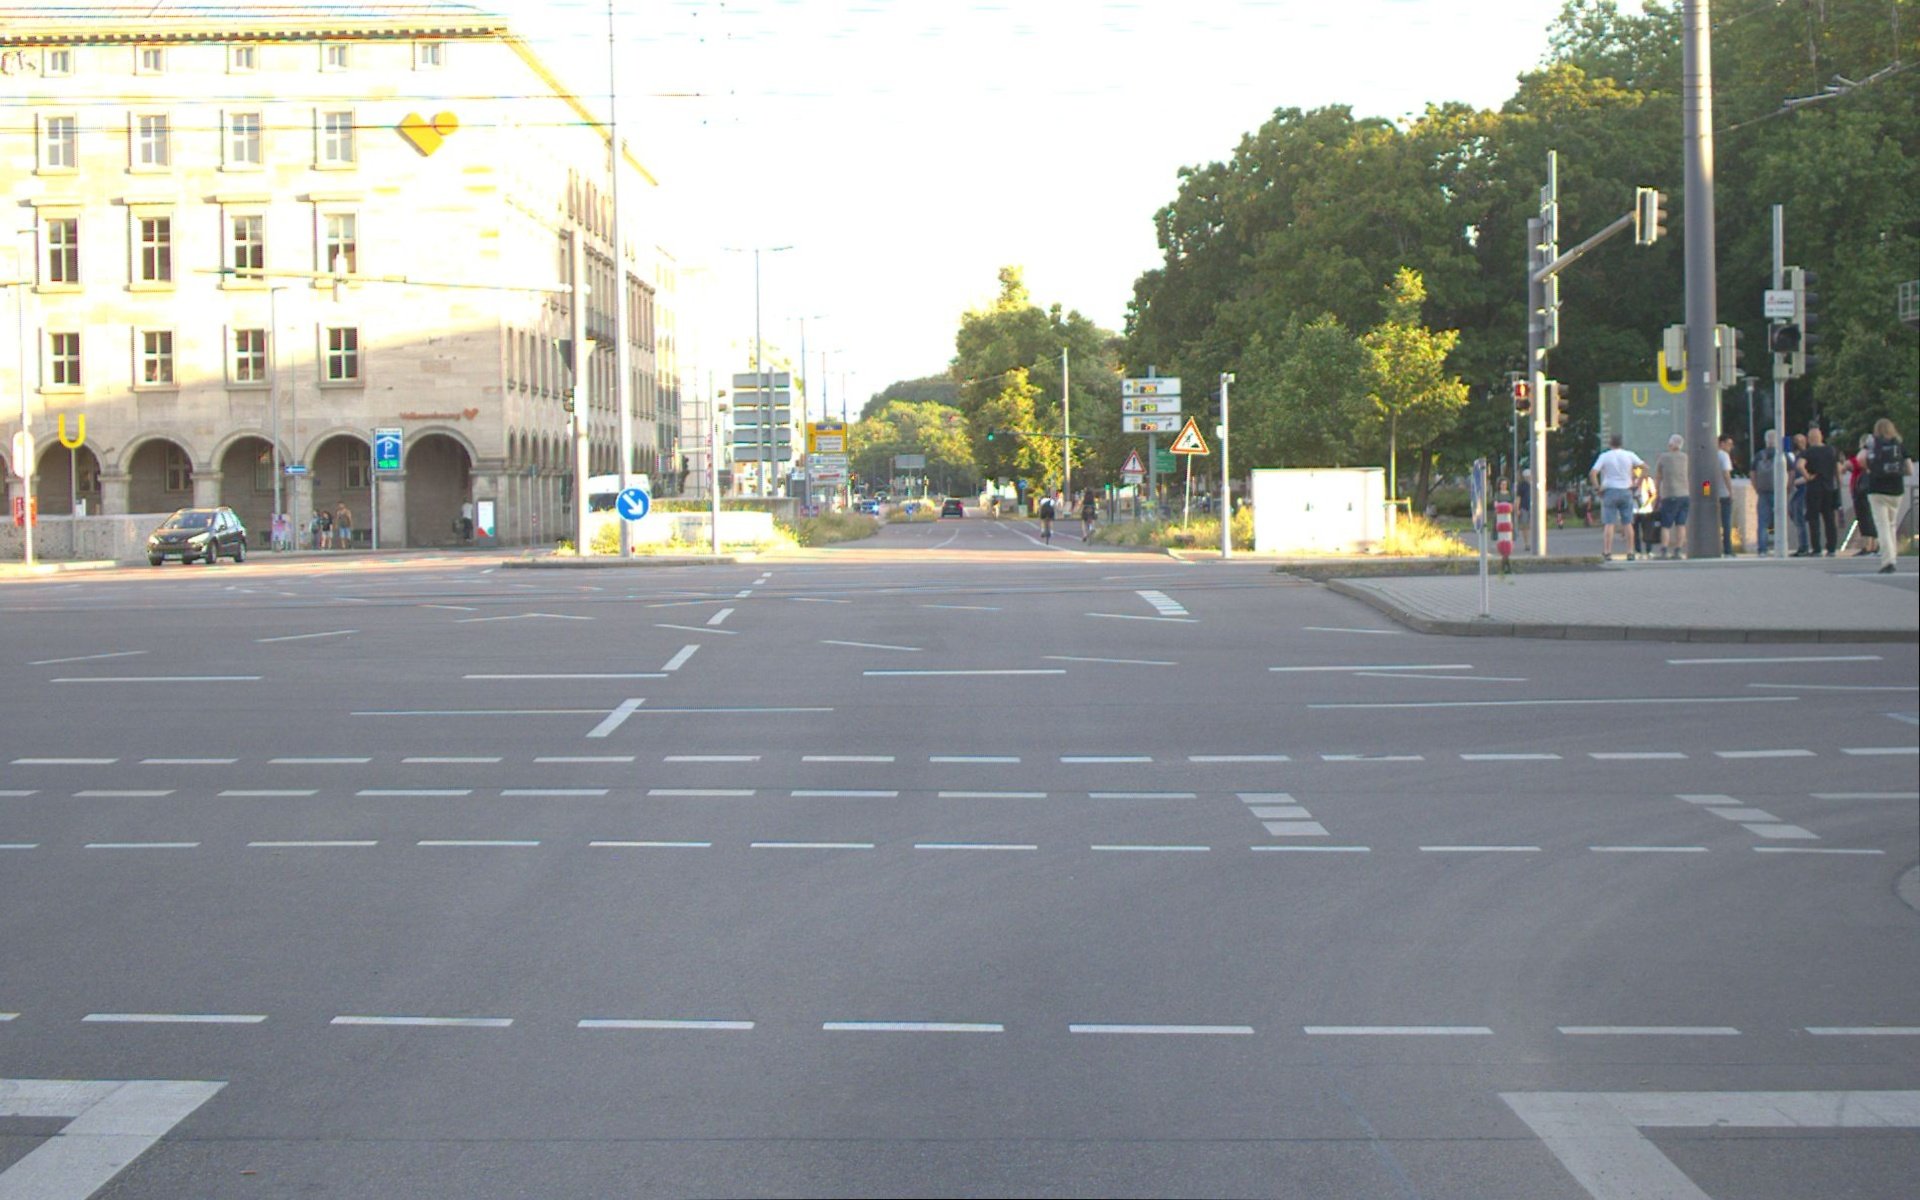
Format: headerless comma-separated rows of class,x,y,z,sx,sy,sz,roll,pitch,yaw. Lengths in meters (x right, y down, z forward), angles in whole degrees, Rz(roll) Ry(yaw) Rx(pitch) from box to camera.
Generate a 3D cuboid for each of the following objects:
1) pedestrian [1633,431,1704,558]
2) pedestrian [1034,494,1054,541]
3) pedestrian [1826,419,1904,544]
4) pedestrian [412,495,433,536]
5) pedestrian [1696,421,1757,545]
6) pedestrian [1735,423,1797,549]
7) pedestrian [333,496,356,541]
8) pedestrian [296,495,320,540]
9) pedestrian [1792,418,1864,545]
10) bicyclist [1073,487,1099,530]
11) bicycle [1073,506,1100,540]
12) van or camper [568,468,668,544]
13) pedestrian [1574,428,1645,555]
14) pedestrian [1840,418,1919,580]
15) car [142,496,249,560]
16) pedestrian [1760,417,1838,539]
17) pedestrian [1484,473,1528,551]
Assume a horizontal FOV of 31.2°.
pedestrian,9.771,-1.456,47.460,0.808,1.724,0.688,-1,2,-2
pedestrian,2.484,-2.452,101.693,0.522,1.369,0.688,-1,2,-4
pedestrian,12.671,-1.656,48.142,0.685,1.724,0.811,-2,2,-26
pedestrian,-20.997,-3.298,134.266,0.772,1.562,0.636,-1,2,-9
pedestrian,10.773,-1.648,48.328,0.808,1.724,0.687,0,2,12
pedestrian,11.163,-1.579,47.604,0.808,1.724,0.687,0,2,12
pedestrian,-21.779,-2.894,121.619,0.633,1.562,0.775,-1,2,1
pedestrian,-23.073,-2.926,121.663,0.633,1.562,0.775,-1,2,1
pedestrian,11.997,-1.637,47.535,0.808,1.724,0.688,-1,2,-1
bicyclist,3.660,-2.668,100.197,0.651,1.219,0.861,-1,2,-4
bicycle,3.685,-2.247,100.228,0.651,0.967,1.485,-1,2,-4
van or camper,-12.756,-3.543,128.522,1.885,2.750,4.928,0,2,18
pedestrian,8.948,-1.492,47.379,0.808,1.724,0.688,-1,2,-2
pedestrian,9.963,-1.090,37.196,0.692,1.724,0.741,-1,2,2
car,-21.188,-2.019,95.459,1.993,1.656,4.000,-1,2,1
pedestrian,11.958,-1.740,49.013,0.686,1.724,0.811,-2,2,-33
pedestrian,12.195,-1.966,76.797,0.808,1.724,0.929,-1,2,-2
